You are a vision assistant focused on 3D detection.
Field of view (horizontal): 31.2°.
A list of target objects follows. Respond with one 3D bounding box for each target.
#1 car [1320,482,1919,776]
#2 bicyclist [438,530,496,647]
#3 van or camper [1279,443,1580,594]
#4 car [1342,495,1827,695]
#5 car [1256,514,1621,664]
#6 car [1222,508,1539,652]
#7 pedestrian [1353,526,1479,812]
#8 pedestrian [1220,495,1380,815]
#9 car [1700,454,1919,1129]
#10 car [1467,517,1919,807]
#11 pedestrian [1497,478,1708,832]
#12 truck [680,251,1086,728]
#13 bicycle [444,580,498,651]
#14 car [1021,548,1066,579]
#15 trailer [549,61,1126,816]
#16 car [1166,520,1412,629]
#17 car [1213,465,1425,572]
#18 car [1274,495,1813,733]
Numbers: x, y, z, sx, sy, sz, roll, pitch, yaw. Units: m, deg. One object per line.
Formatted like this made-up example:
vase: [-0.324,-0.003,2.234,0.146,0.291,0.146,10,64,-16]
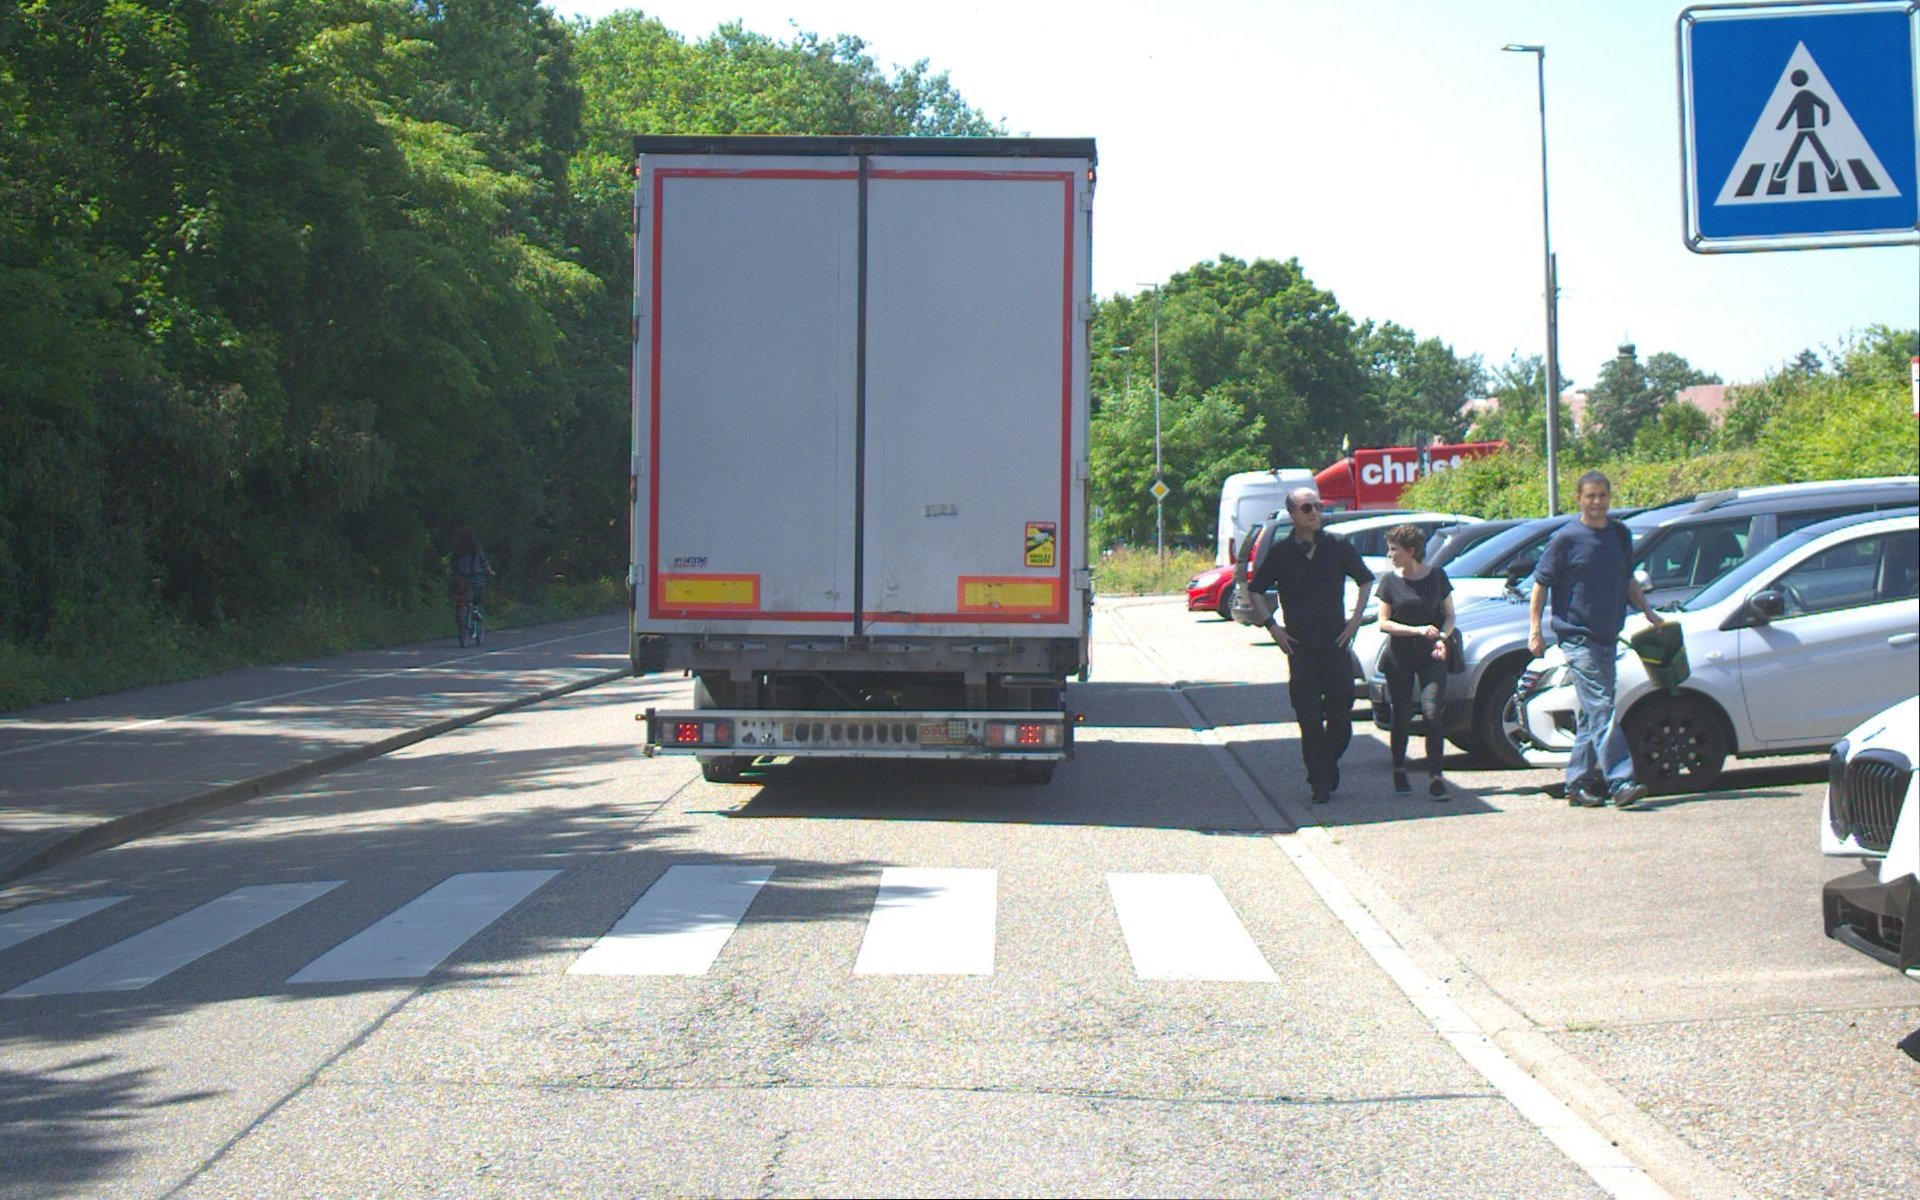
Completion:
car: [4.548,0.166,22.622,3.955,1.663,1.814,-3,0,-6]
bicyclist: [-7.416,-0.174,51.701,0.717,1.752,0.796,0,0,3]
van or camper: [11.477,-1.969,83.912,7.049,3.575,2.771,0,0,13]
car: [5.721,-0.047,31.738,3.955,1.581,1.814,-3,0,-8]
car: [5.646,-0.137,40.823,3.955,1.613,1.814,-2,1,-4]
car: [5.717,-0.281,47.024,3.956,1.759,1.814,-3,1,-4]
pedestrian: [2.656,0.392,20.071,0.589,1.609,0.744,-3,0,4]
pedestrian: [2.019,0.321,20.516,0.822,1.828,0.792,-3,0,4]
car: [4.512,0.310,9.410,4.404,1.692,1.877,-5,0,-3]
car: [5.016,0.294,19.740,3.957,1.475,1.813,-3,0,4]
pedestrian: [3.414,0.283,18.362,0.907,1.792,0.935,-3,0,4]
truck: [-0.552,-0.941,30.750,3.114,3.712,6.413,2,1,1]
bicycle: [-7.381,0.220,51.959,0.454,1.044,2.203,0,0,1]
car: [4.167,-1.809,170.922,1.781,1.481,3.999,-1,1,8]
trailer: [-0.601,-0.981,24.547,3.113,4.088,11.537,1,1,1]
car: [5.708,-0.438,59.945,3.956,1.663,1.814,-3,0,-4]
car: [7.038,-1.584,67.704,3.956,1.792,1.813,-3,-2,2]
car: [4.764,0.078,28.346,3.955,1.662,1.814,-3,3,-8]
